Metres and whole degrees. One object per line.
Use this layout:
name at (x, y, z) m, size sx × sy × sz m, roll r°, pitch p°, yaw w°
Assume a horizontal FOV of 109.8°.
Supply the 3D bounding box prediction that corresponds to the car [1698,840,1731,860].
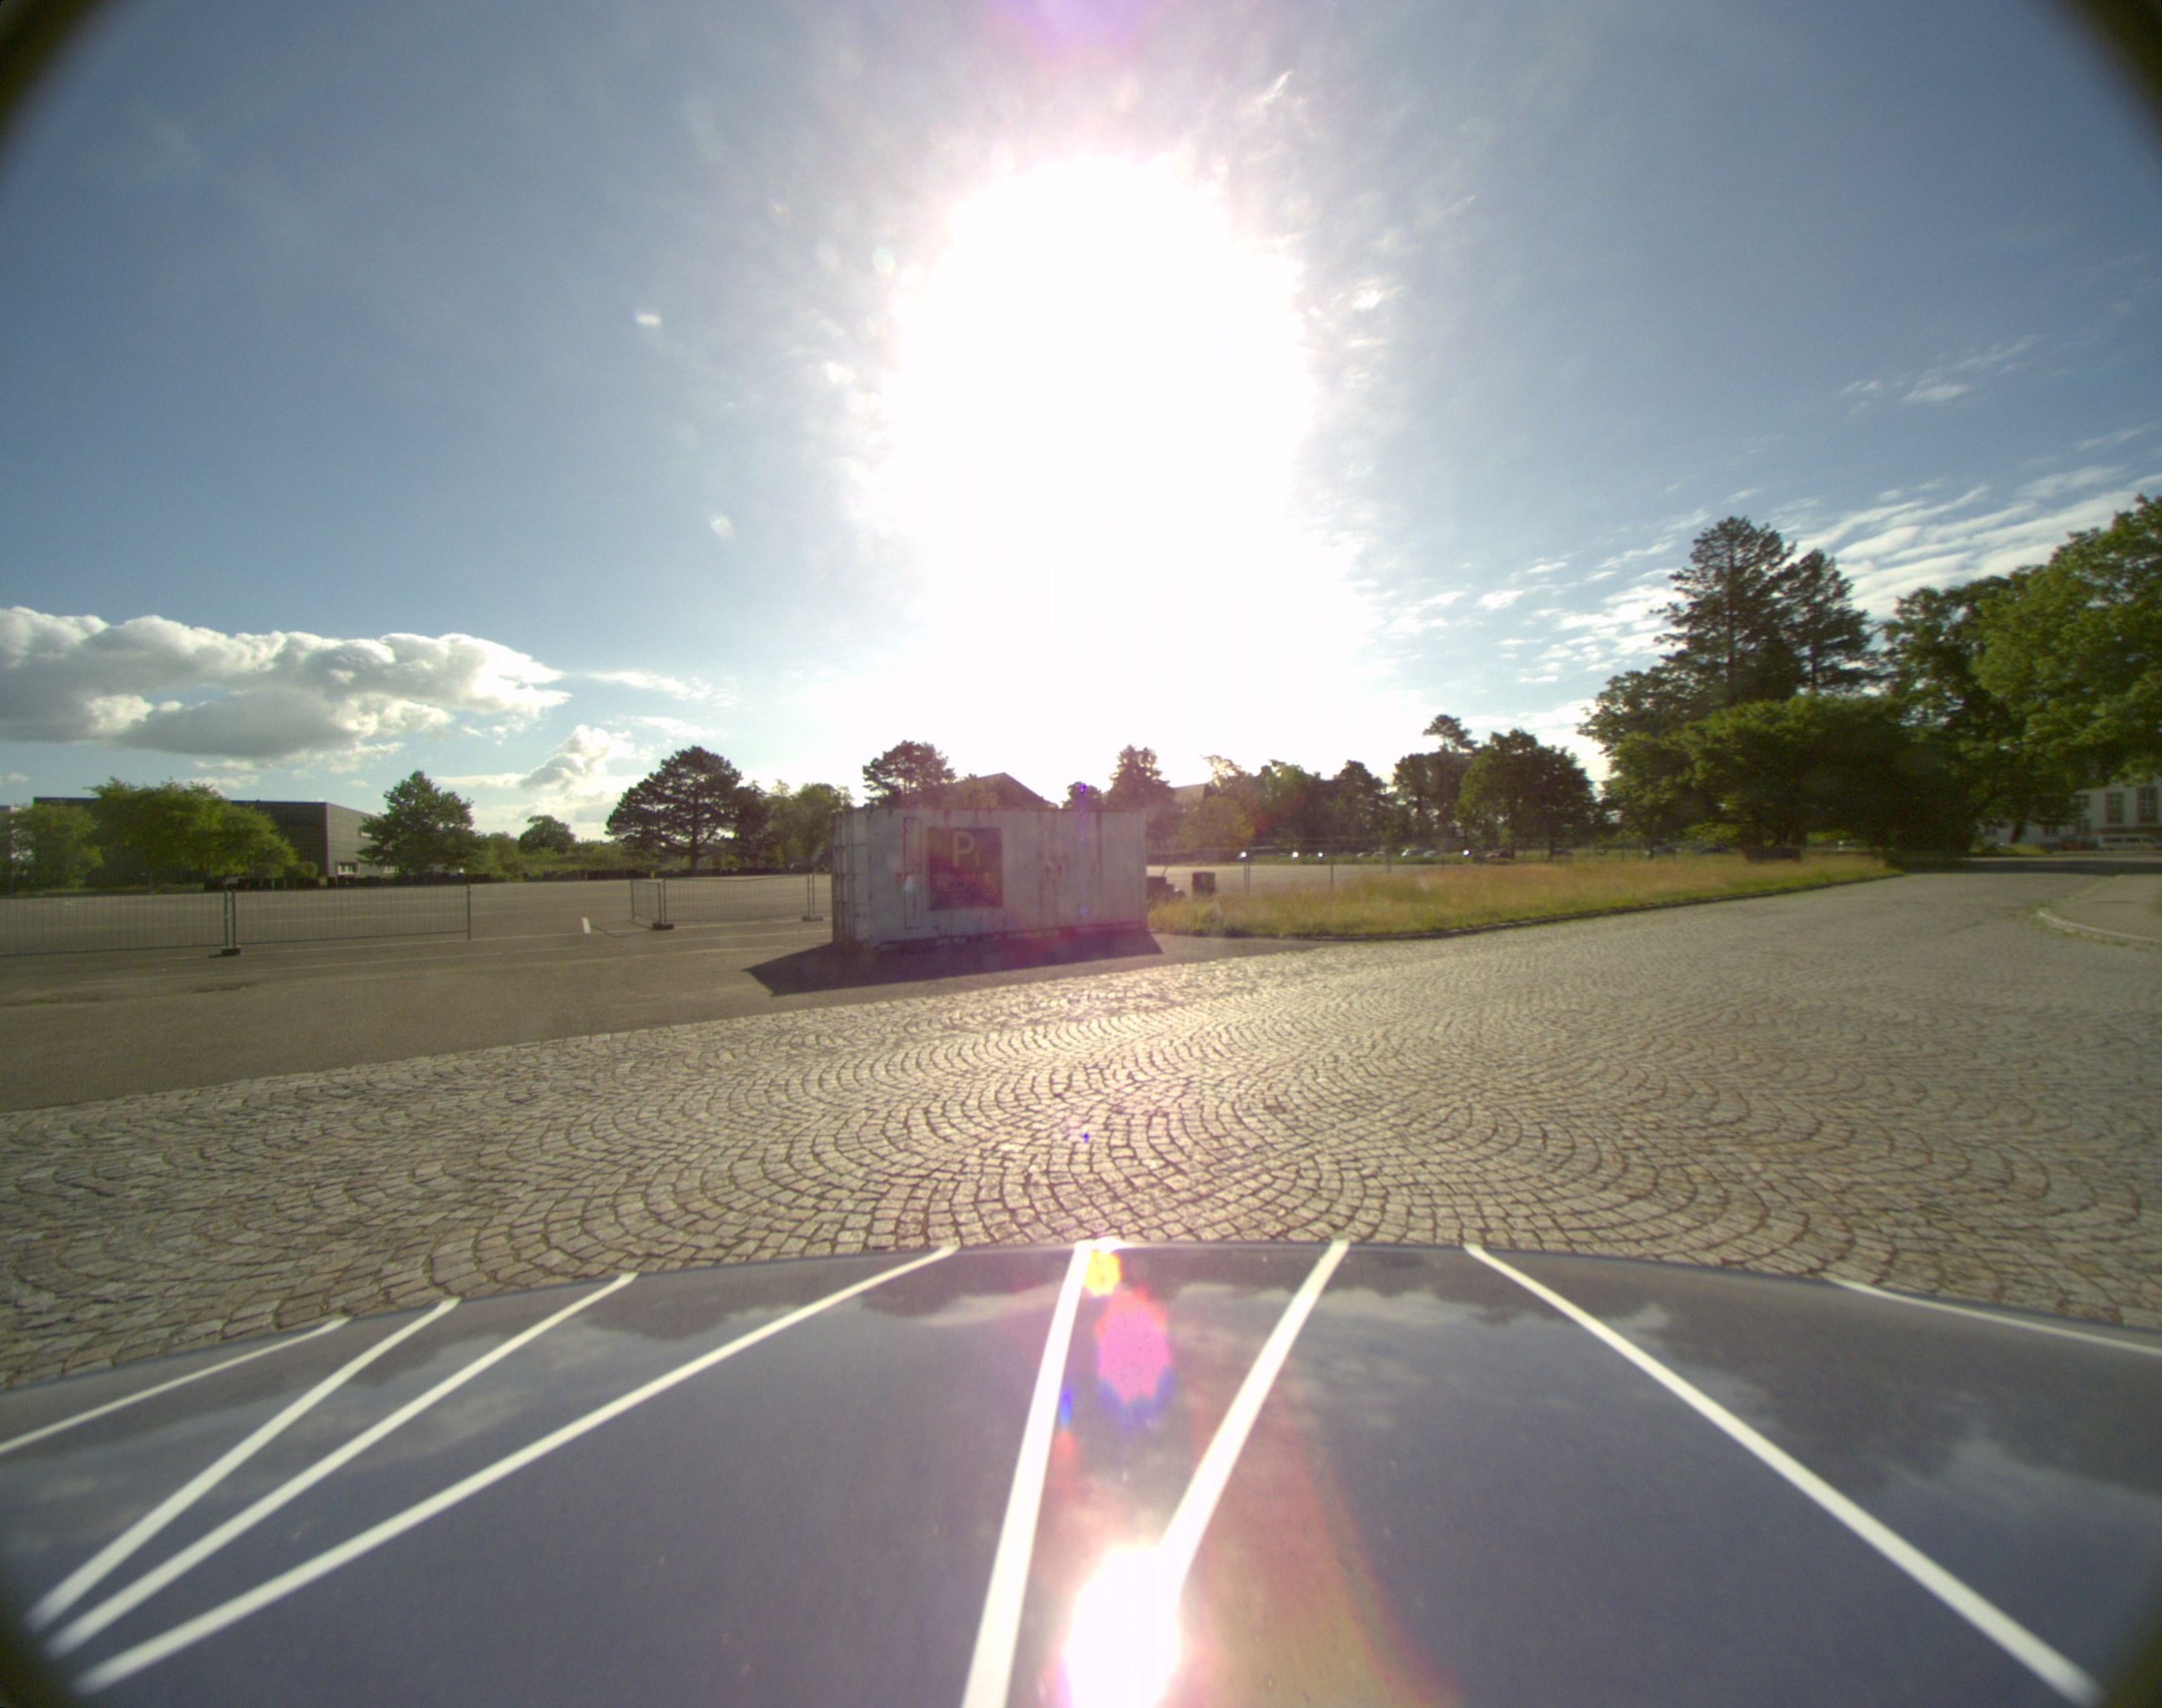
car at (66.493, -0.458, 79.772) m, size 4.008 × 2.002 × 1.994 m, roll -1°, pitch 0°, yaw -41°

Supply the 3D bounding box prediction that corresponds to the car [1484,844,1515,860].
car at (54.415, -0.271, 98.718) m, size 4.007 × 2.002 × 1.995 m, roll -1°, pitch 0°, yaw -36°

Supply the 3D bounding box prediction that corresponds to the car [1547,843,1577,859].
car at (58.511, -0.386, 92.488) m, size 4.008 × 1.805 × 1.994 m, roll -1°, pitch 0°, yaw -41°

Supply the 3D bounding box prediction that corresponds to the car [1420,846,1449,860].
car at (49.464, -0.168, 106.327) m, size 4.007 × 1.936 × 1.995 m, roll -1°, pitch 1°, yaw -36°

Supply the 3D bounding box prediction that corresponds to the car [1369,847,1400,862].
car at (45.049, 0.069, 112.732) m, size 4.005 × 2.001 × 1.996 m, roll -2°, pitch -2°, yaw -27°

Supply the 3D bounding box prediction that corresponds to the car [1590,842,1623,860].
car at (61.419, -0.347, 88.861) m, size 4.007 × 2.002 × 1.995 m, roll -1°, pitch 0°, yaw -37°

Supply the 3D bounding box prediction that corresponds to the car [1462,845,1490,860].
car at (52.504, -0.221, 100.985) m, size 4.008 × 2.002 × 1.994 m, roll -1°, pitch 1°, yaw -43°

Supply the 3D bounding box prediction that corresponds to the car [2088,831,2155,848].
car at (131.105, -1.823, 95.778) m, size 2.003 × 2.083 × 4.861 m, roll -1°, pitch 0°, yaw -34°

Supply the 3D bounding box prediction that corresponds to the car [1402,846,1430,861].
car at (47.652, -0.063, 108.062) m, size 4.007 × 2.002 × 1.995 m, roll -1°, pitch 1°, yaw -36°
